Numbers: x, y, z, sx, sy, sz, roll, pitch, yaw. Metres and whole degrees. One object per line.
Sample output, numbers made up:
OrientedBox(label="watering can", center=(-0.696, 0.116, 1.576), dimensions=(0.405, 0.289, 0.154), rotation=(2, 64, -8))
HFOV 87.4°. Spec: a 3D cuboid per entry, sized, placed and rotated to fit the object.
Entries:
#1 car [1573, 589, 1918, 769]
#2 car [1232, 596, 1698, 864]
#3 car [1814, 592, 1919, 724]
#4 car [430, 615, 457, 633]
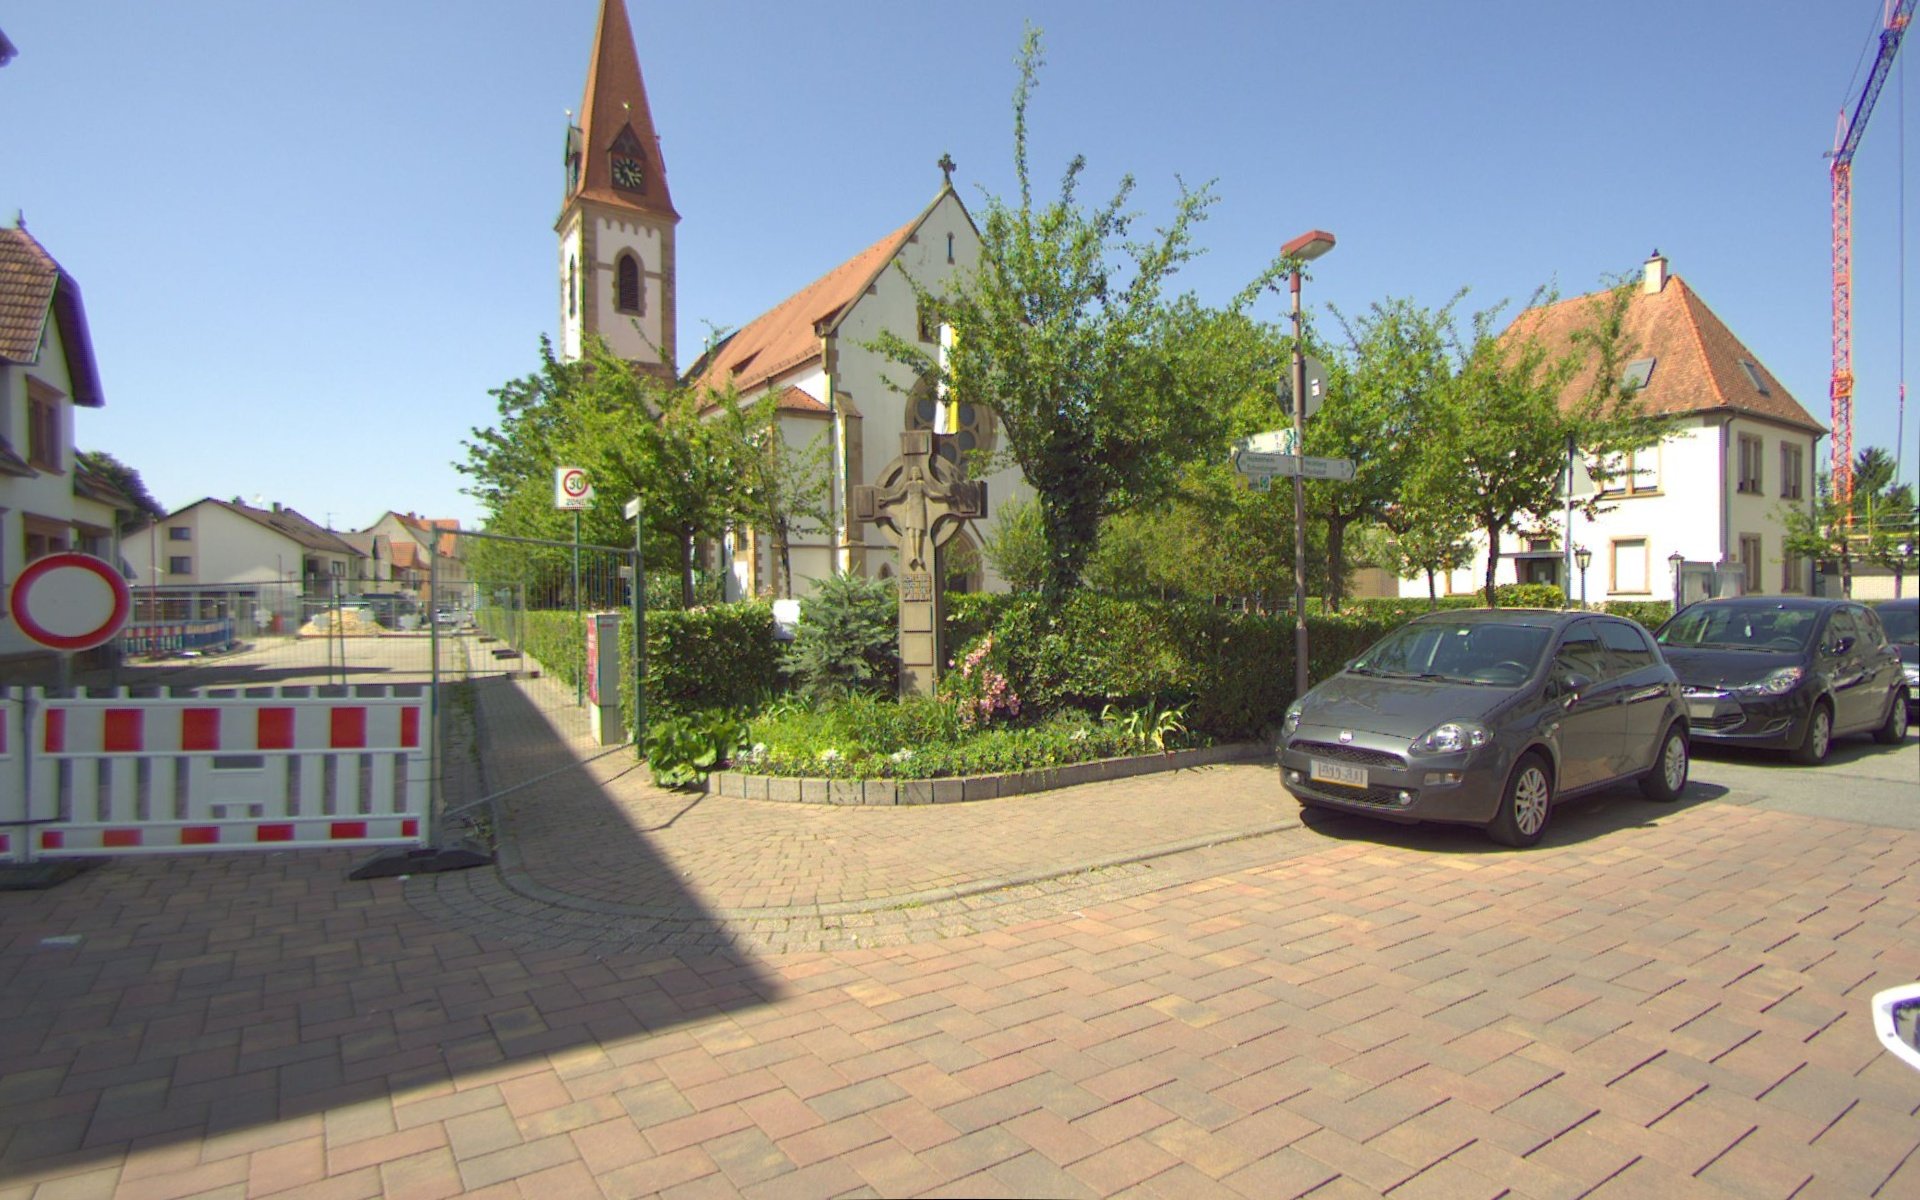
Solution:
OrientedBox(label="car", center=(8.627, 0.708, 10.953), dimensions=(3.981, 1.626, 1.805), rotation=(-1, 0, -33))
OrientedBox(label="car", center=(3.939, 0.749, 7.600), dimensions=(3.822, 1.517, 1.689), rotation=(-1, 0, -38))
OrientedBox(label="car", center=(13.447, 0.715, 13.901), dimensions=(3.730, 1.650, 1.627), rotation=(-1, 0, -35))
OrientedBox(label="car", center=(-44.637, 2.068, 86.843), dimensions=(1.794, 1.483, 3.911), rotation=(0, 0, -32))
